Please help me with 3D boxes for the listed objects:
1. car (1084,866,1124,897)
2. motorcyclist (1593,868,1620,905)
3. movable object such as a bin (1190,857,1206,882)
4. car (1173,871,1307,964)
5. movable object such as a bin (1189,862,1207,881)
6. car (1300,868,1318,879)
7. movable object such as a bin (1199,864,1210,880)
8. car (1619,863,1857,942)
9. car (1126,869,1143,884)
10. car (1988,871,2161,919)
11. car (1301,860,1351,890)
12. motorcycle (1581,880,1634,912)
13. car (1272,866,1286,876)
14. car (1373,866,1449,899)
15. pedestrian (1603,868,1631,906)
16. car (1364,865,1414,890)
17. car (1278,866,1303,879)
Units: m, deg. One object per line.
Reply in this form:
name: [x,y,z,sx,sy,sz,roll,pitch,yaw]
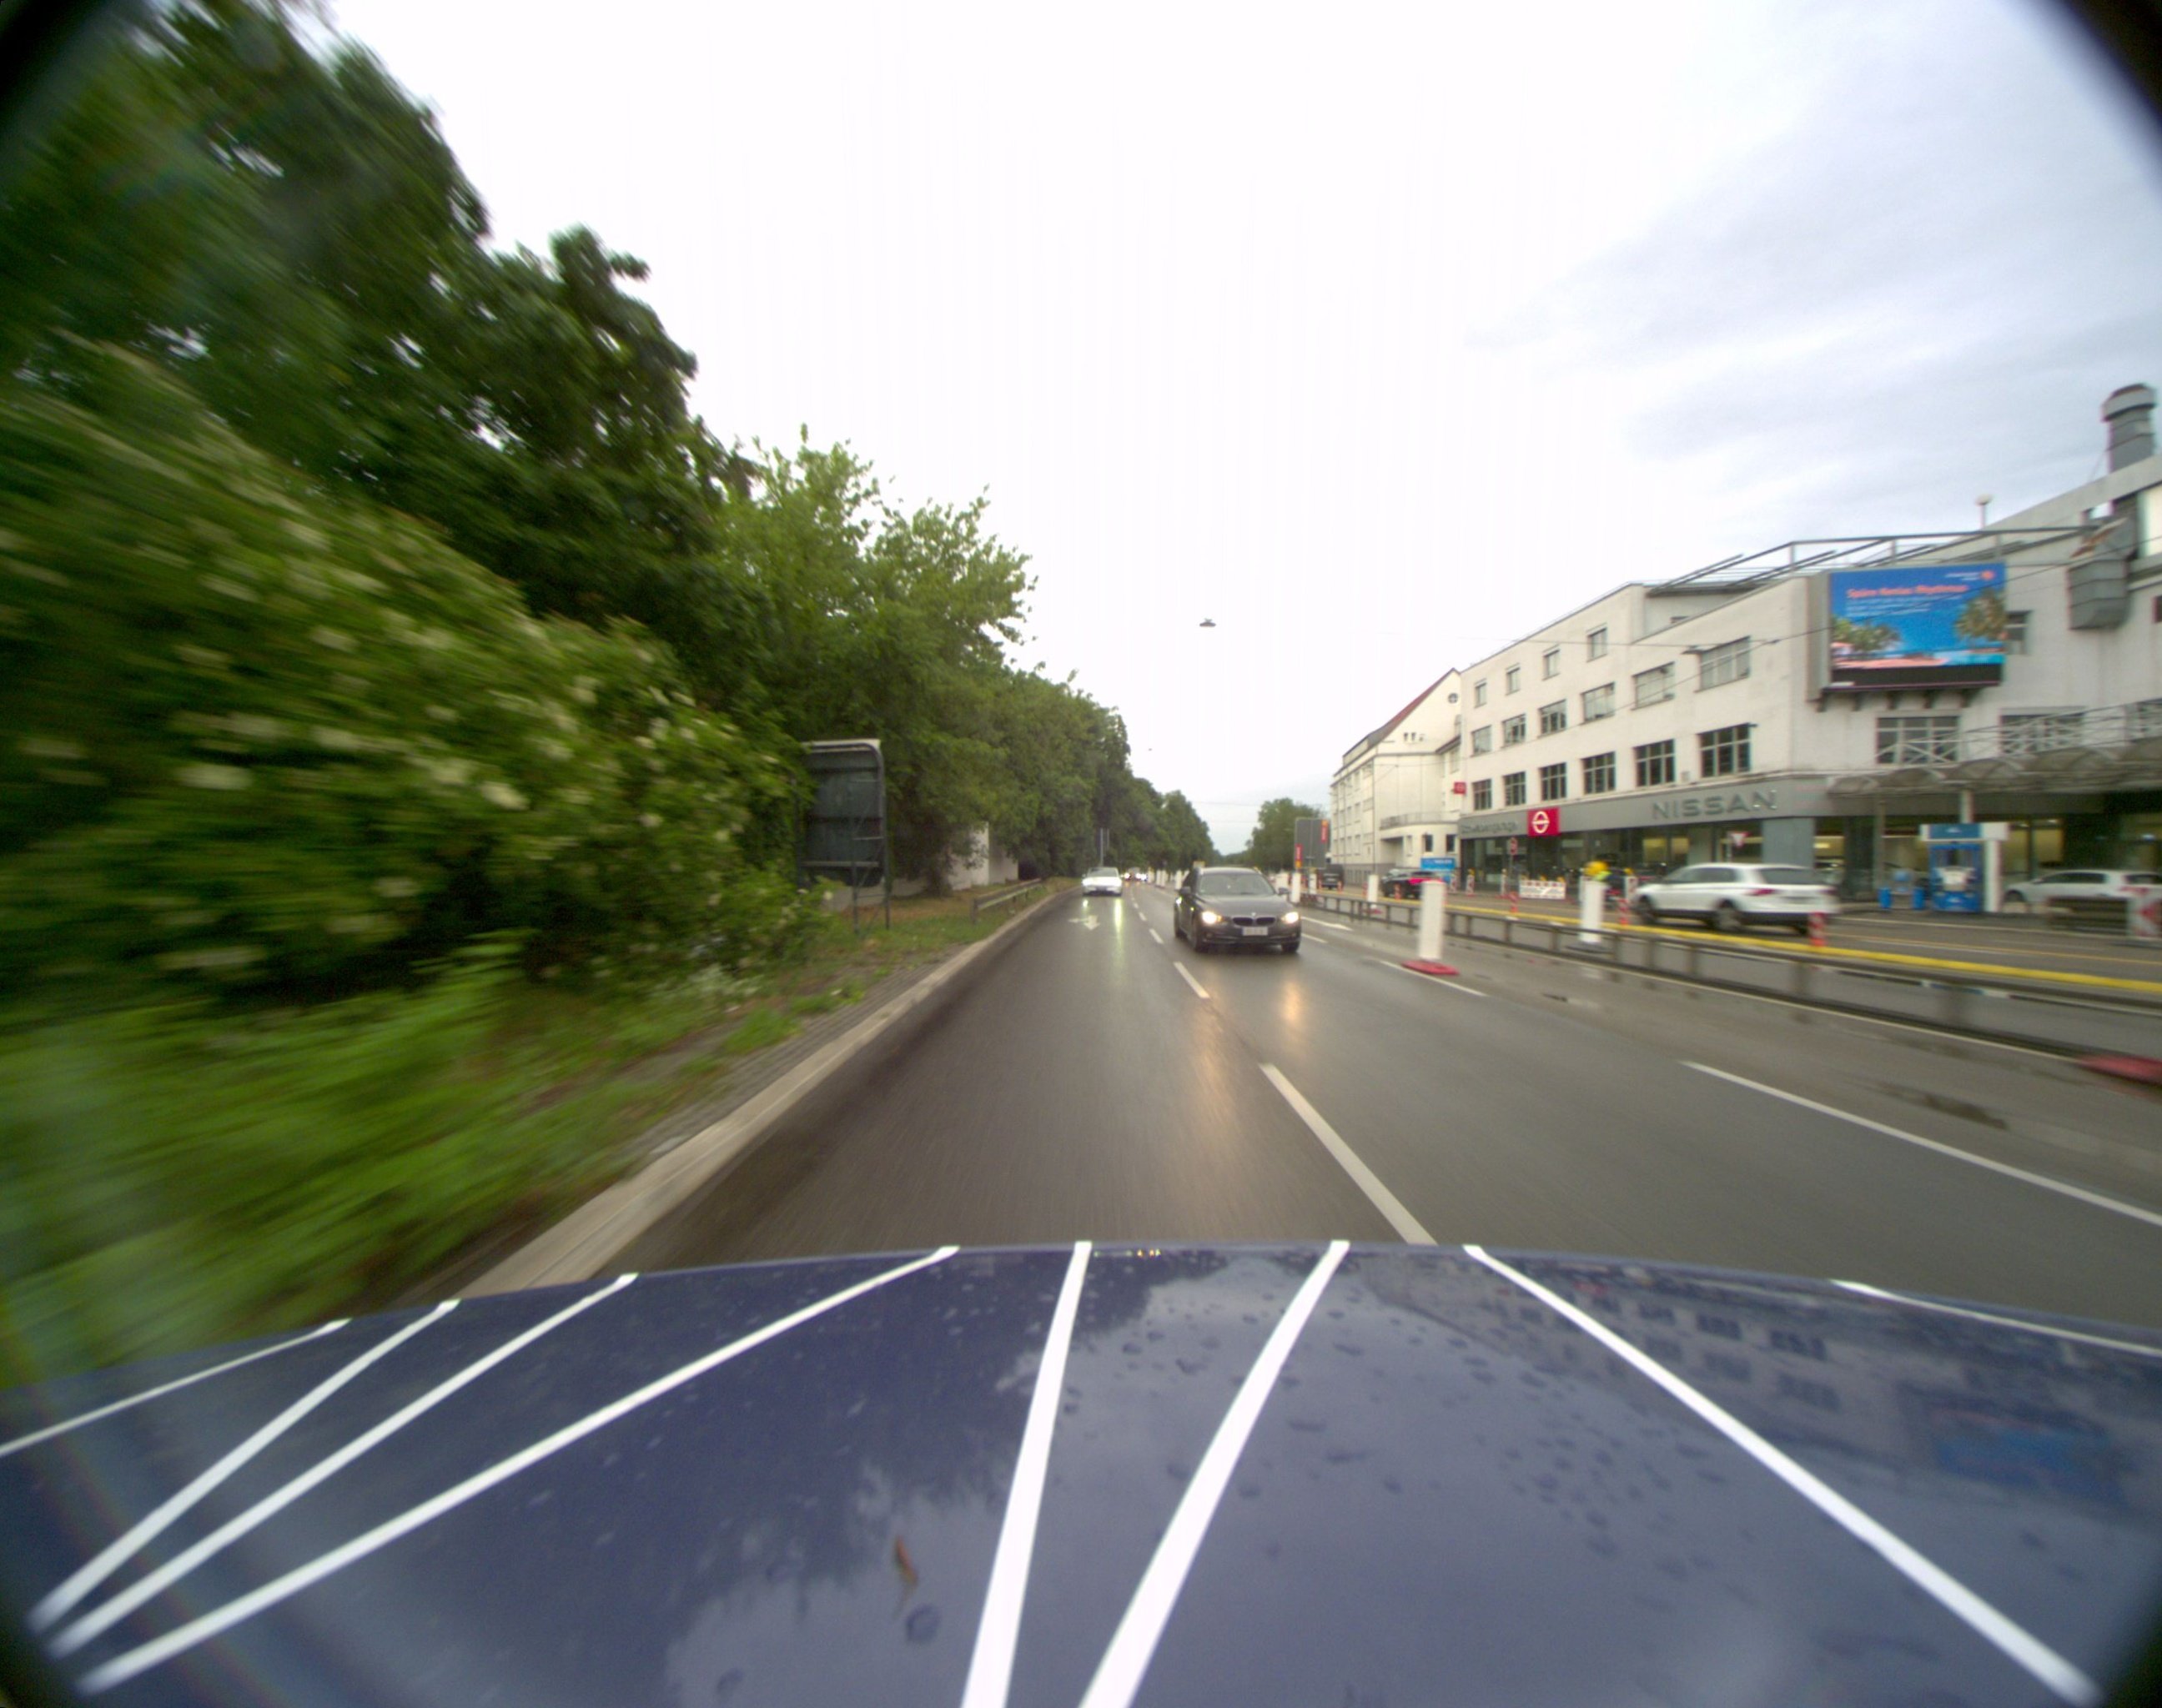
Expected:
car: [1.120,1.341,38.231,1.839,1.424,4.273,1,0,1]
motorcyclist: [19.525,1.207,28.232,0.589,1.355,0.561,1,-1,1]
movable object such as a bin: [14.286,1.927,92.870,1.825,2.894,3.611,2,-1,9]
car: [2.804,1.063,14.283,1.763,1.441,4.179,0,-1,2]
movable object such as a bin: [13.549,1.971,87.696,1.997,2.099,3.853,1,-1,9]
car: [31.218,2.641,104.111,1.737,1.405,3.711,1,0,6]
movable object such as a bin: [16.228,2.393,99.955,1.398,2.032,4.090,1,-1,9]
car: [15.781,1.069,18.663,1.943,1.679,4.581,1,-1,1]
car: [6.624,2.756,93.947,1.998,1.739,4.001,1,0,3]
car: [34.675,1.361,26.346,1.817,1.474,3.968,1,0,3]
car: [17.433,1.453,54.405,1.998,1.925,5.232,2,0,2]
motorcycle: [19.514,1.547,28.200,0.580,1.096,2.028,1,0,2]
car: [32.624,2.805,125.367,1.704,1.455,4.121,2,-1,9]
car: [16.388,1.360,38.006,1.855,1.457,4.708,1,0,2]
pedestrian: [19.512,1.203,27.668,0.589,1.355,0.561,1,-1,1]
car: [20.782,1.556,51.445,1.751,1.575,4.266,1,0,2]
car: [23.599,2.054,85.832,1.801,1.343,4.814,1,0,5]
